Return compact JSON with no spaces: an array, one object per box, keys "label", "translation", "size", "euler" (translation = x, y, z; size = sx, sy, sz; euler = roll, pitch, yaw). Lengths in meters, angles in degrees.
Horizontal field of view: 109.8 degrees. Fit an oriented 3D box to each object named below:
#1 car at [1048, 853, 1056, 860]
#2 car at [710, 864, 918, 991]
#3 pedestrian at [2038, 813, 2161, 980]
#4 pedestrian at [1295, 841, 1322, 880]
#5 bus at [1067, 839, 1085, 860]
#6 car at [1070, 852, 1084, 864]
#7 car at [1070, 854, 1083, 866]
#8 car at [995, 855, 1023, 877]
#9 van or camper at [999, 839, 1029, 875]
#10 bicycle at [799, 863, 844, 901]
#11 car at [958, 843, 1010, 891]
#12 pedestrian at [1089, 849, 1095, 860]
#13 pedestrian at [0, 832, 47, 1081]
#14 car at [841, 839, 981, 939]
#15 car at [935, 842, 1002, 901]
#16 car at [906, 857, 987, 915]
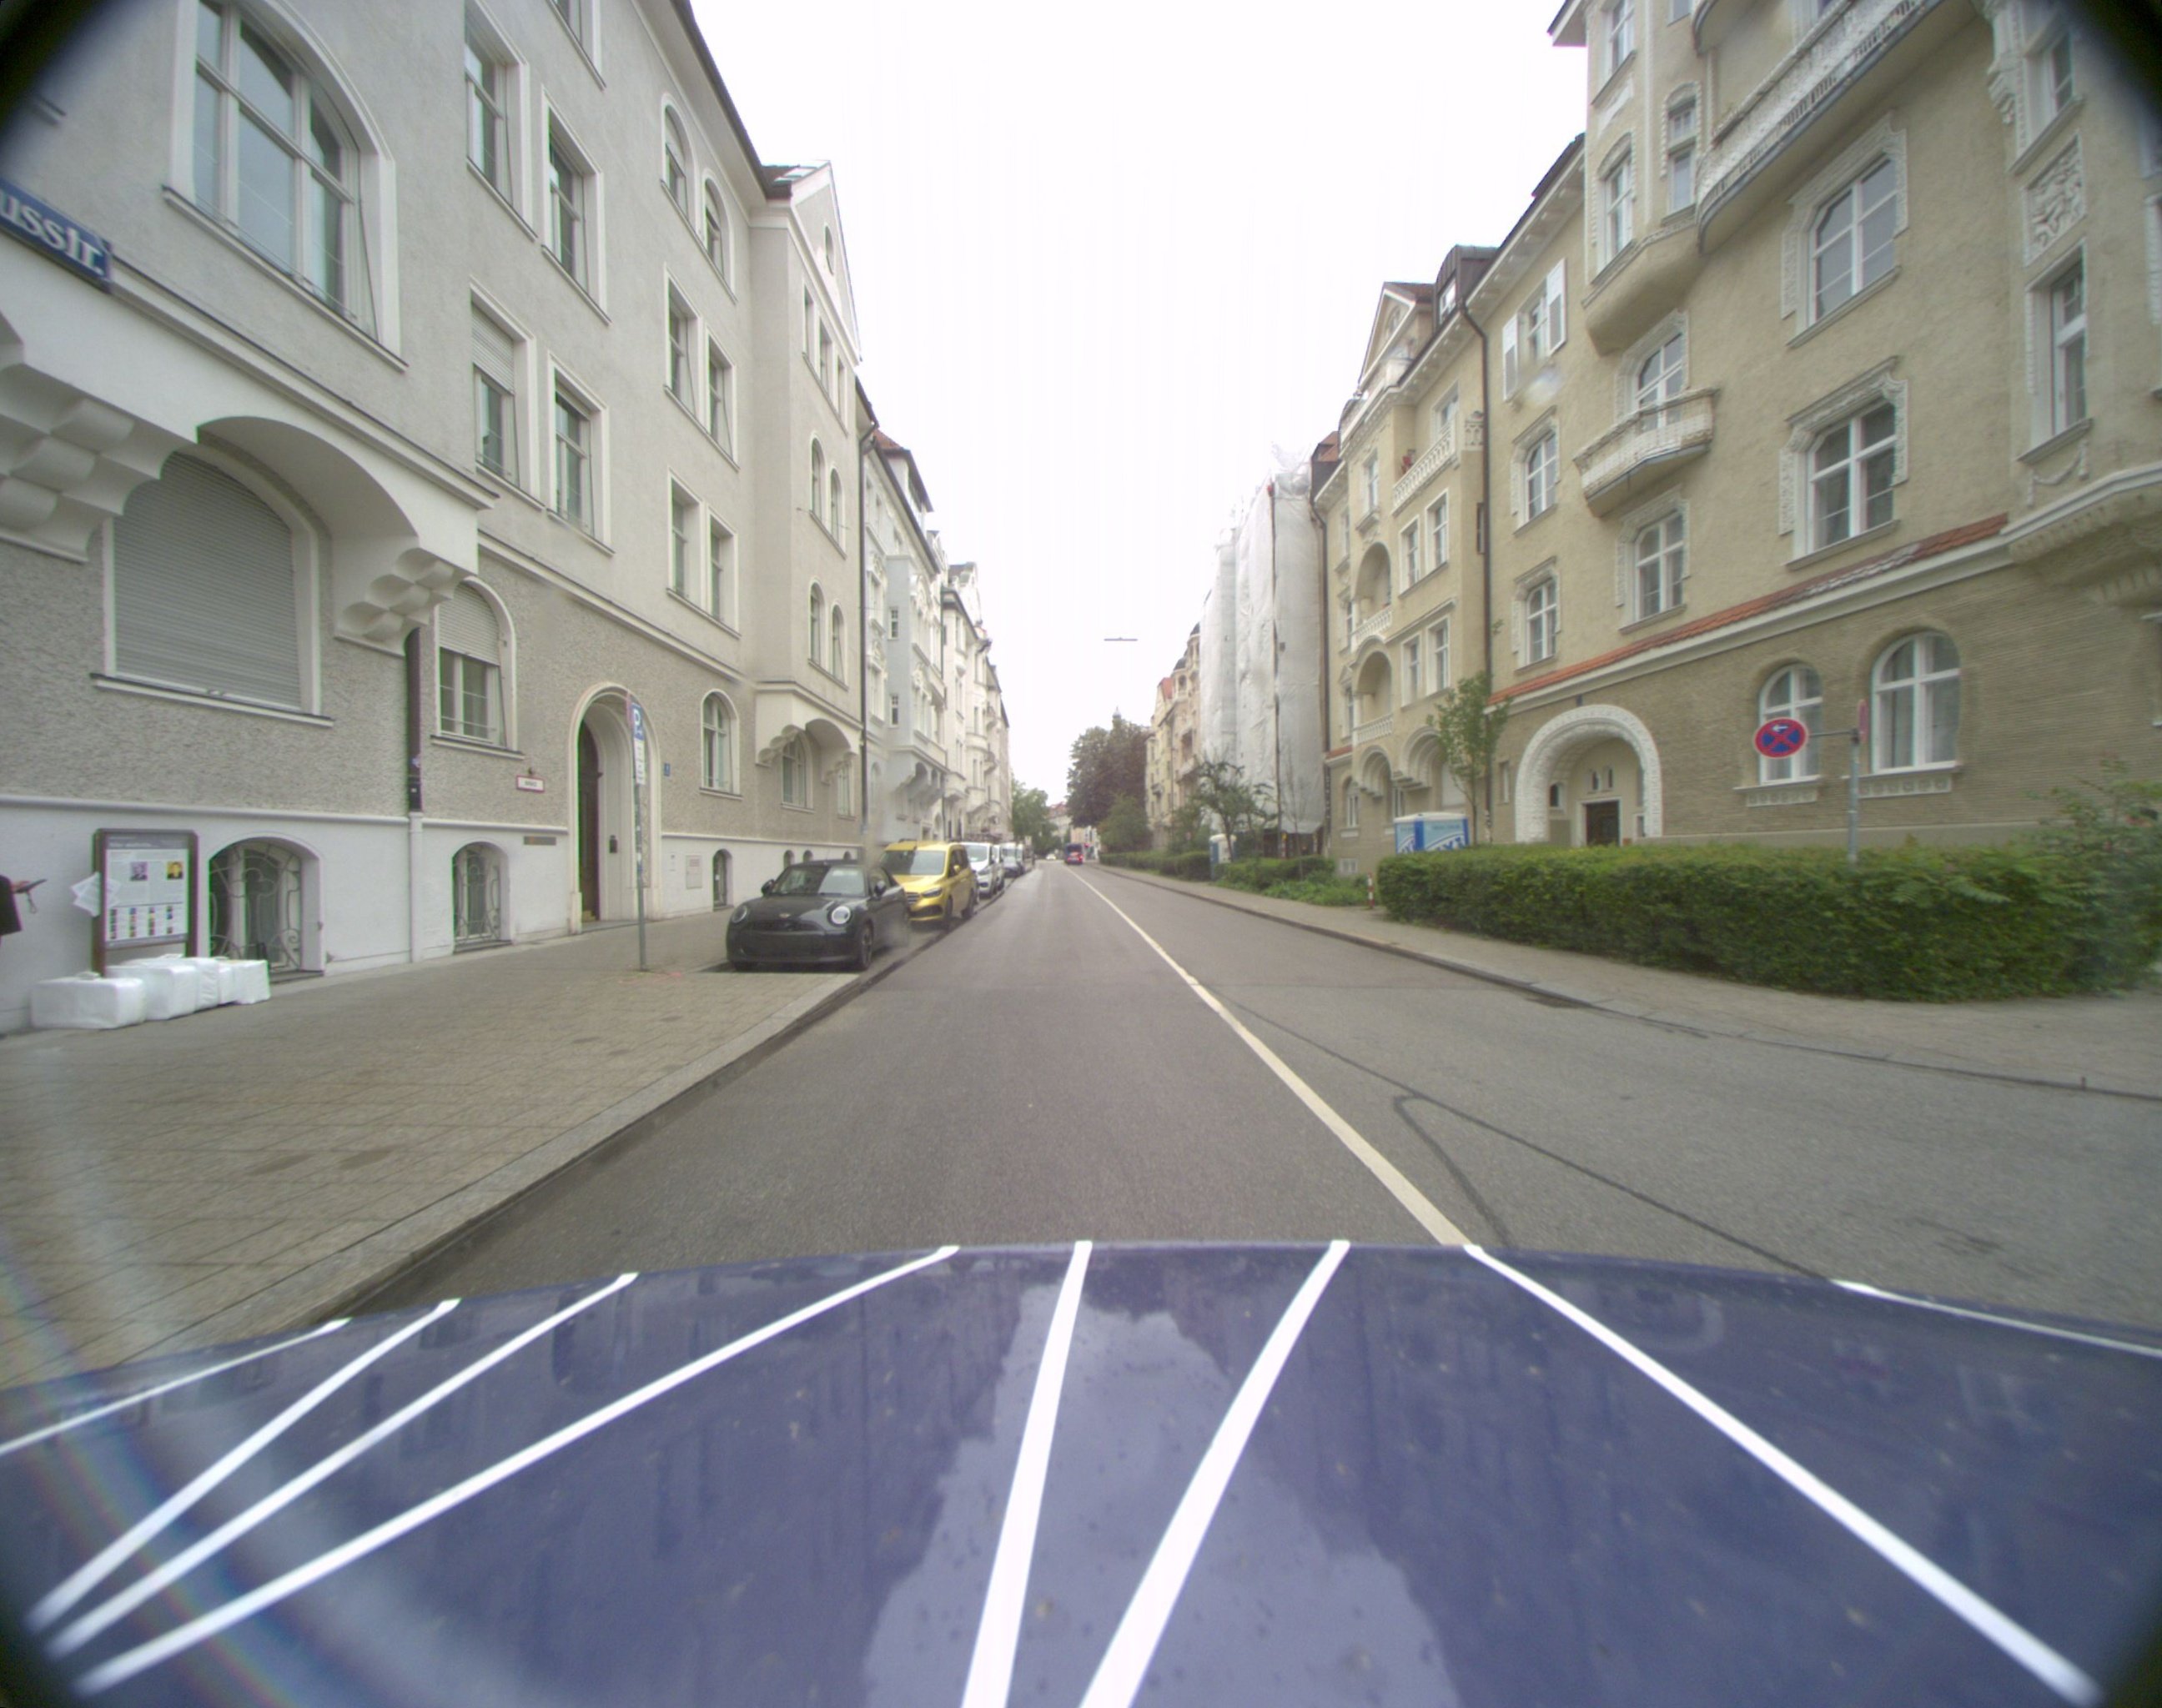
[{"label":"car","translation":[-6.913,0.520,179.275],"size":[1.927,1.608,3.998],"euler":[-1,0,-3]},{"label":"car","translation":[-3.594,0.895,10.985],"size":[1.668,1.449,3.896],"euler":[0,0,-1]},{"label":"pedestrian","translation":[12.045,0.458,8.694],"size":[0.891,1.799,1.055],"euler":[0,0,-11]},{"label":"pedestrian","translation":[10.175,0.290,34.001],"size":[0.916,1.741,0.947],"euler":[0,1,-2]},{"label":"bus","translation":[-0.882,-0.734,118.027],"size":[2.586,3.083,8.920],"euler":[0,0,-2]},{"label":"car","translation":[-0.594,0.596,107.665],"size":[1.773,1.635,4.272],"euler":[0,0,-2]},{"label":"car","translation":[-0.585,0.789,101.281],"size":[1.588,1.471,3.781],"euler":[0,0,-2]},{"label":"car","translation":[-4.911,0.775,52.533],"size":[1.758,1.426,4.085],"euler":[0,0,-3]},{"label":"van or camper","translation":[-5.079,0.173,58.481],"size":[1.959,2.621,5.457],"euler":[0,1,-2]},{"label":"bicycle","translation":[-8.126,0.846,23.886],"size":[0.696,1.087,2.036],"euler":[2,0,-1]},{"label":"car","translation":[-4.253,0.520,33.893],"size":[1.965,2.002,4.991],"euler":[0,0,-4]},{"label":"pedestrian","translation":[2.140,0.099,144.637],"size":[0.952,2.002,1.397],"euler":[0,1,8]},{"label":"pedestrian","translation":[-8.052,0.722,5.414],"size":[0.733,1.728,0.694],"euler":[5,4,44]},{"label":"car","translation":[-3.462,0.652,16.478],"size":[1.855,1.842,4.821],"euler":[0,0,1]},{"label":"car","translation":[-3.964,0.559,27.520],"size":[1.965,1.926,4.991],"euler":[0,0,-4]},{"label":"car","translation":[-3.719,0.831,21.569],"size":[1.636,1.475,3.783],"euler":[0,0,-1]}]
